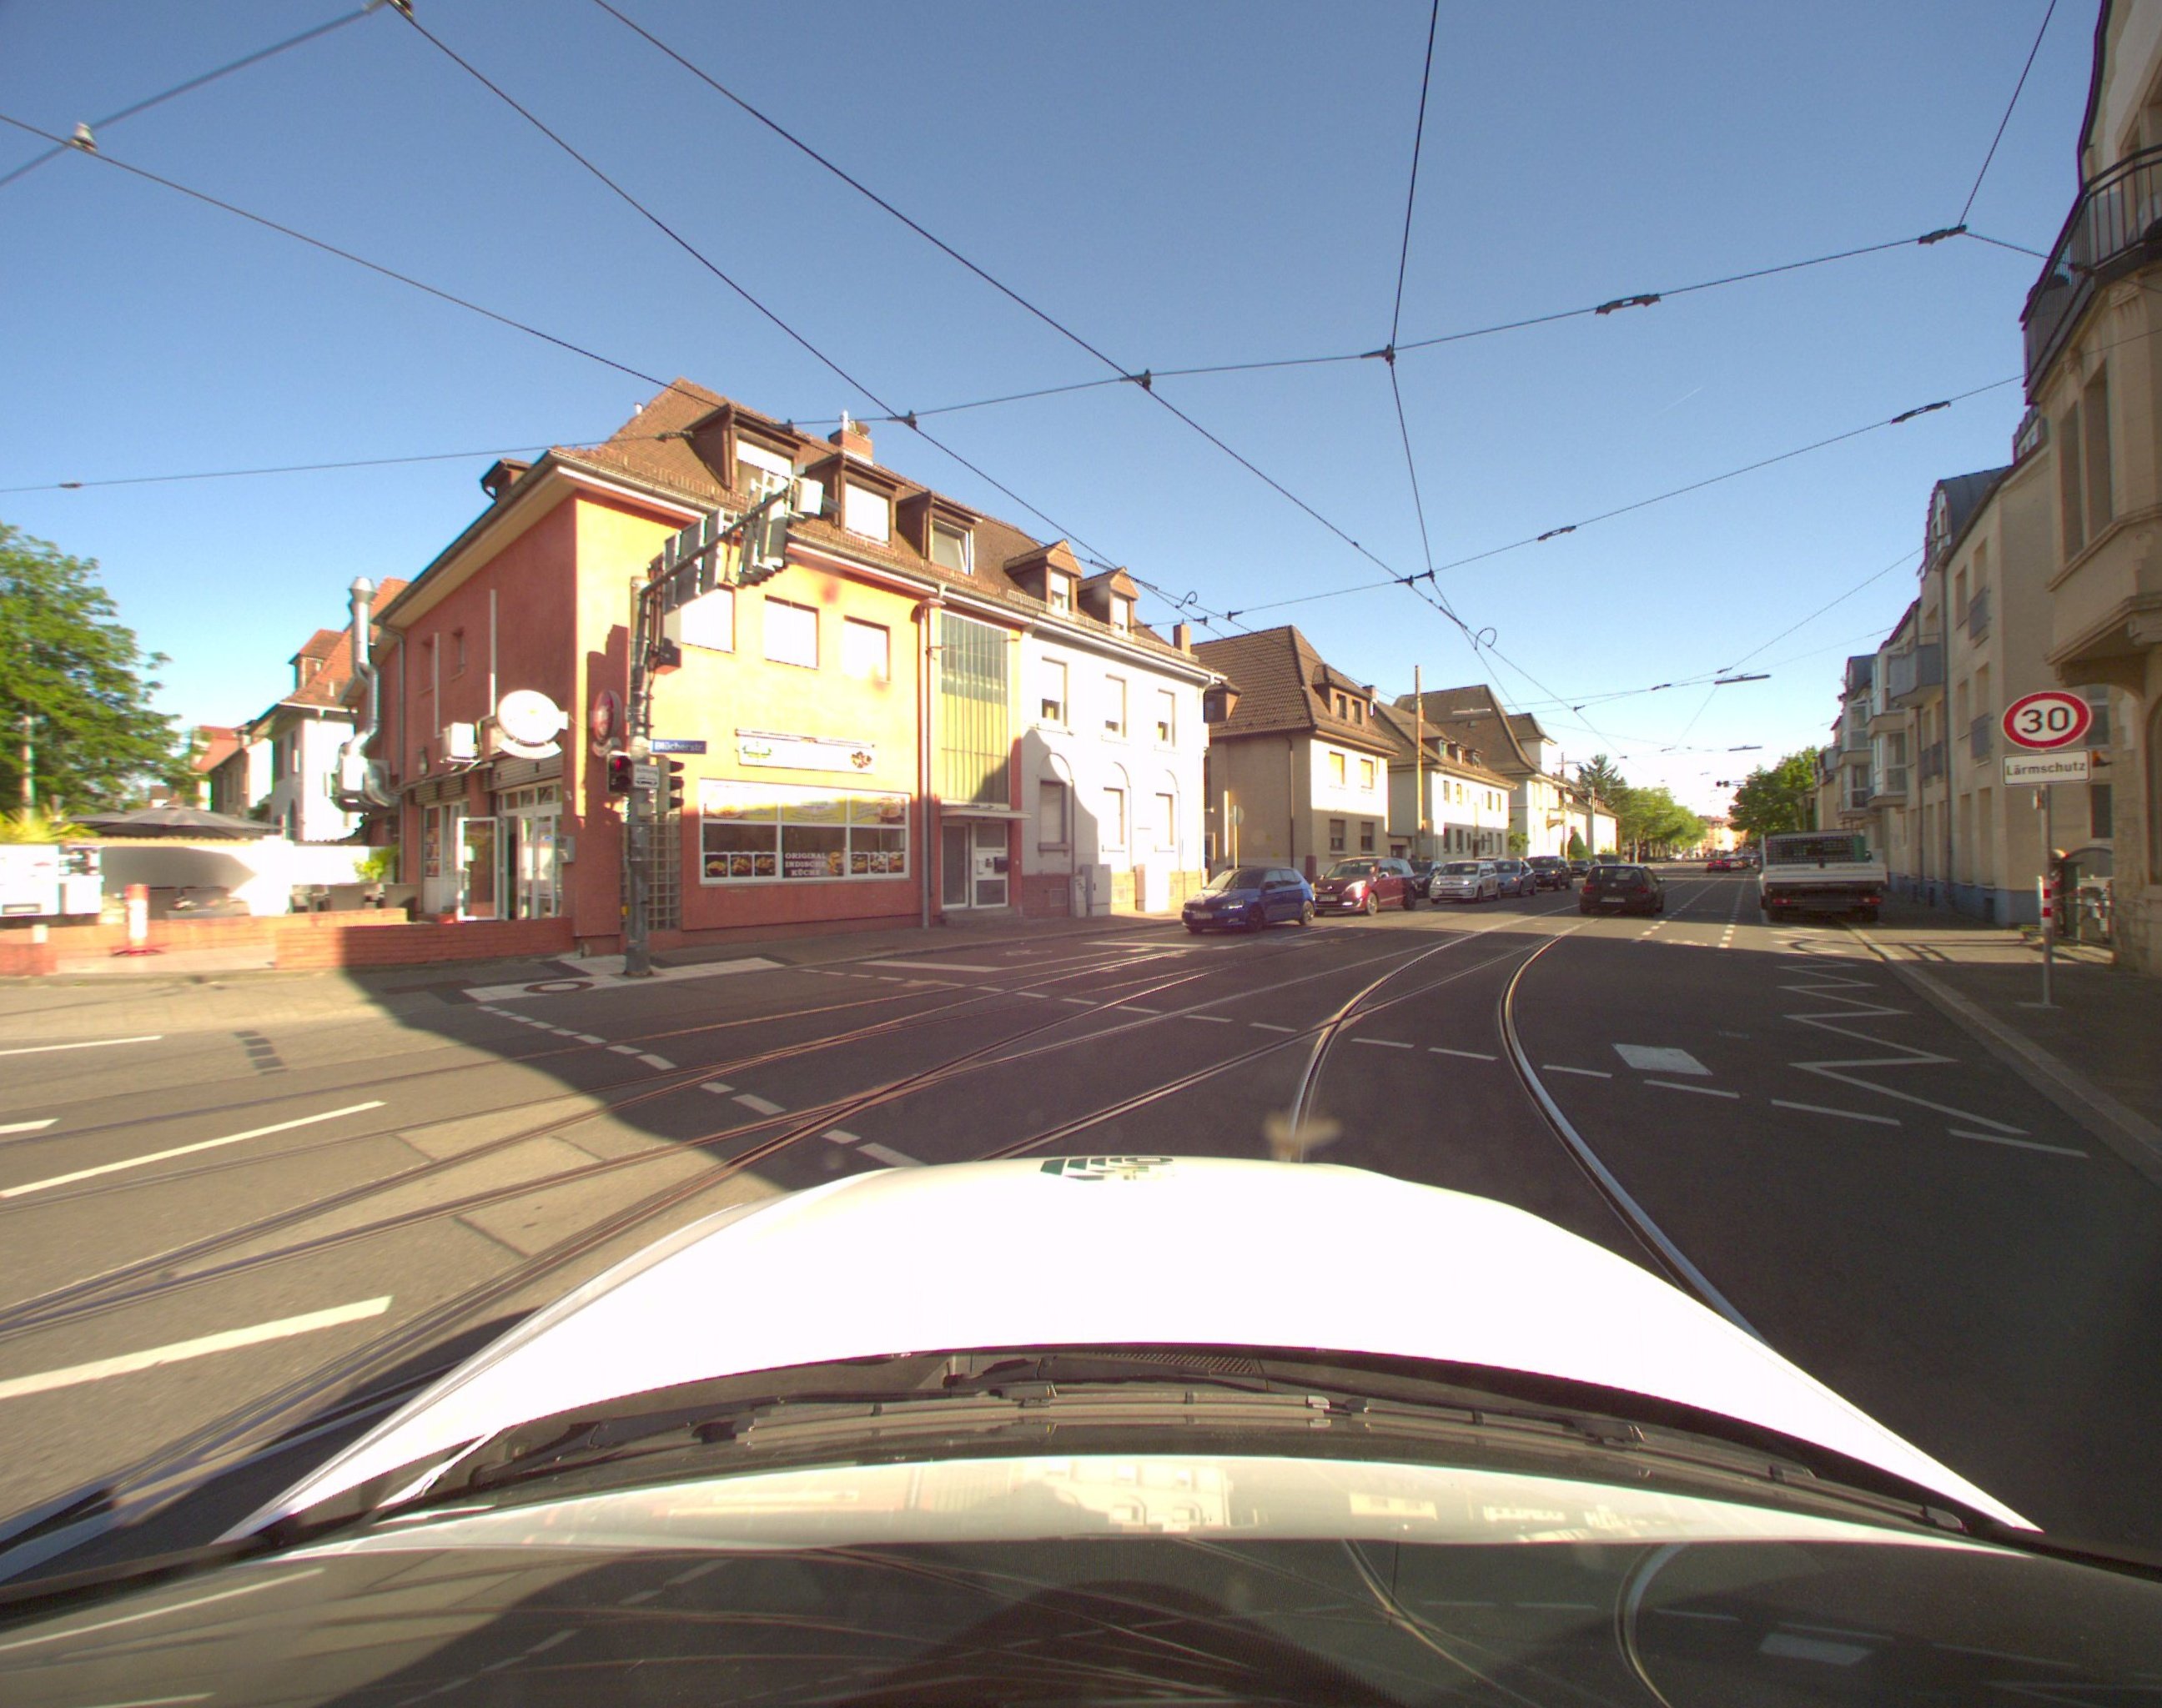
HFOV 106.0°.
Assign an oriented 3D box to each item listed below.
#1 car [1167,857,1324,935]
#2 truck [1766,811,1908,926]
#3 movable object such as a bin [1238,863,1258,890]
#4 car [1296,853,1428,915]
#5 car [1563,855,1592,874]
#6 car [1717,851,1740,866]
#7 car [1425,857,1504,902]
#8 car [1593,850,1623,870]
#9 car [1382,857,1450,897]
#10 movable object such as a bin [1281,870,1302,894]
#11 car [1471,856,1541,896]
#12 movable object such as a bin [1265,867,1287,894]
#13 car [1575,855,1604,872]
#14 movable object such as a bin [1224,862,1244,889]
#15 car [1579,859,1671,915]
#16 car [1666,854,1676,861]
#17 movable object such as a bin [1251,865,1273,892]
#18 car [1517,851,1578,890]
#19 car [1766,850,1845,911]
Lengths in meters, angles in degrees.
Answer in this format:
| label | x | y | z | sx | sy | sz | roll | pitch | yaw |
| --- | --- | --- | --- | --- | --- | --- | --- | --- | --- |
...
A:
| label | x | y | z | sx | sy | sz | roll | pitch | yaw |
| --- | --- | --- | --- | --- | --- | --- | --- | --- | --- |
| car | 3.828 | 0.895 | 18.545 | 1.668 | 1.568 | 3.952 | -4 | -3 | 42 |
| truck | 18.869 | 0.305 | 20.626 | 2.273 | 2.477 | 6.184 | -1 | -1 | 40 |
| movable object such as a bin | 7.187 | 0.965 | 35.027 | 0.564 | 1.111 | 0.594 | 2 | 1 | 40 |
| car | 8.214 | 0.817 | 23.557 | 1.722 | 1.611 | 4.742 | -3 | -2 | 44 |
| car | 41.317 | 0.870 | 67.728 | 1.646 | 1.477 | 4.278 | -1 | -1 | 36 |
| car | 62.182 | 0.465 | 78.169 | 1.619 | 1.372 | 3.780 | -2 | -1 | 40 |
| car | 13.634 | 0.878 | 28.845 | 1.567 | 1.461 | 3.636 | -3 | -2 | 41 |
| car | 54.404 | 0.569 | 83.994 | 1.888 | 2.014 | 4.979 | 1 | 1 | 41 |
| car | 14.632 | 0.964 | 35.457 | 1.600 | 1.628 | 3.946 | -3 | -2 | 39 |
| movable object such as a bin | 8.738 | 1.163 | 33.791 | 0.651 | 0.944 | 0.586 | 2 | 1 | 40 |
| car | 17.108 | 0.856 | 32.690 | 1.602 | 1.461 | 4.100 | -3 | -2 | 40 |
| movable object such as a bin | 8.184 | 1.099 | 34.178 | 0.609 | 1.079 | 0.676 | 2 | 1 | 40 |
| car | 45.549 | 0.850 | 72.897 | 1.661 | 1.477 | 3.859 | 1 | 1 | 40 |
| movable object such as a bin | 6.657 | 0.933 | 35.440 | 0.609 | 1.111 | 0.594 | 2 | 1 | 40 |
| car | 15.141 | 0.842 | 22.592 | 1.699 | 1.402 | 4.031 | 0 | 0 | 40 |
| car | 125.736 | 0.777 | 173.507 | 1.560 | 1.477 | 3.462 | -2 | -1 | 34 |
| movable object such as a bin | 7.685 | 1.035 | 34.621 | 0.636 | 1.111 | 0.676 | 2 | 1 | 40 |
| car | 22.094 | 0.764 | 38.514 | 1.687 | 1.705 | 4.391 | -3 | -2 | 40 |
| car | 22.695 | 0.756 | 25.633 | 1.723 | 1.746 | 4.282 | 1 | 1 | 40 |
